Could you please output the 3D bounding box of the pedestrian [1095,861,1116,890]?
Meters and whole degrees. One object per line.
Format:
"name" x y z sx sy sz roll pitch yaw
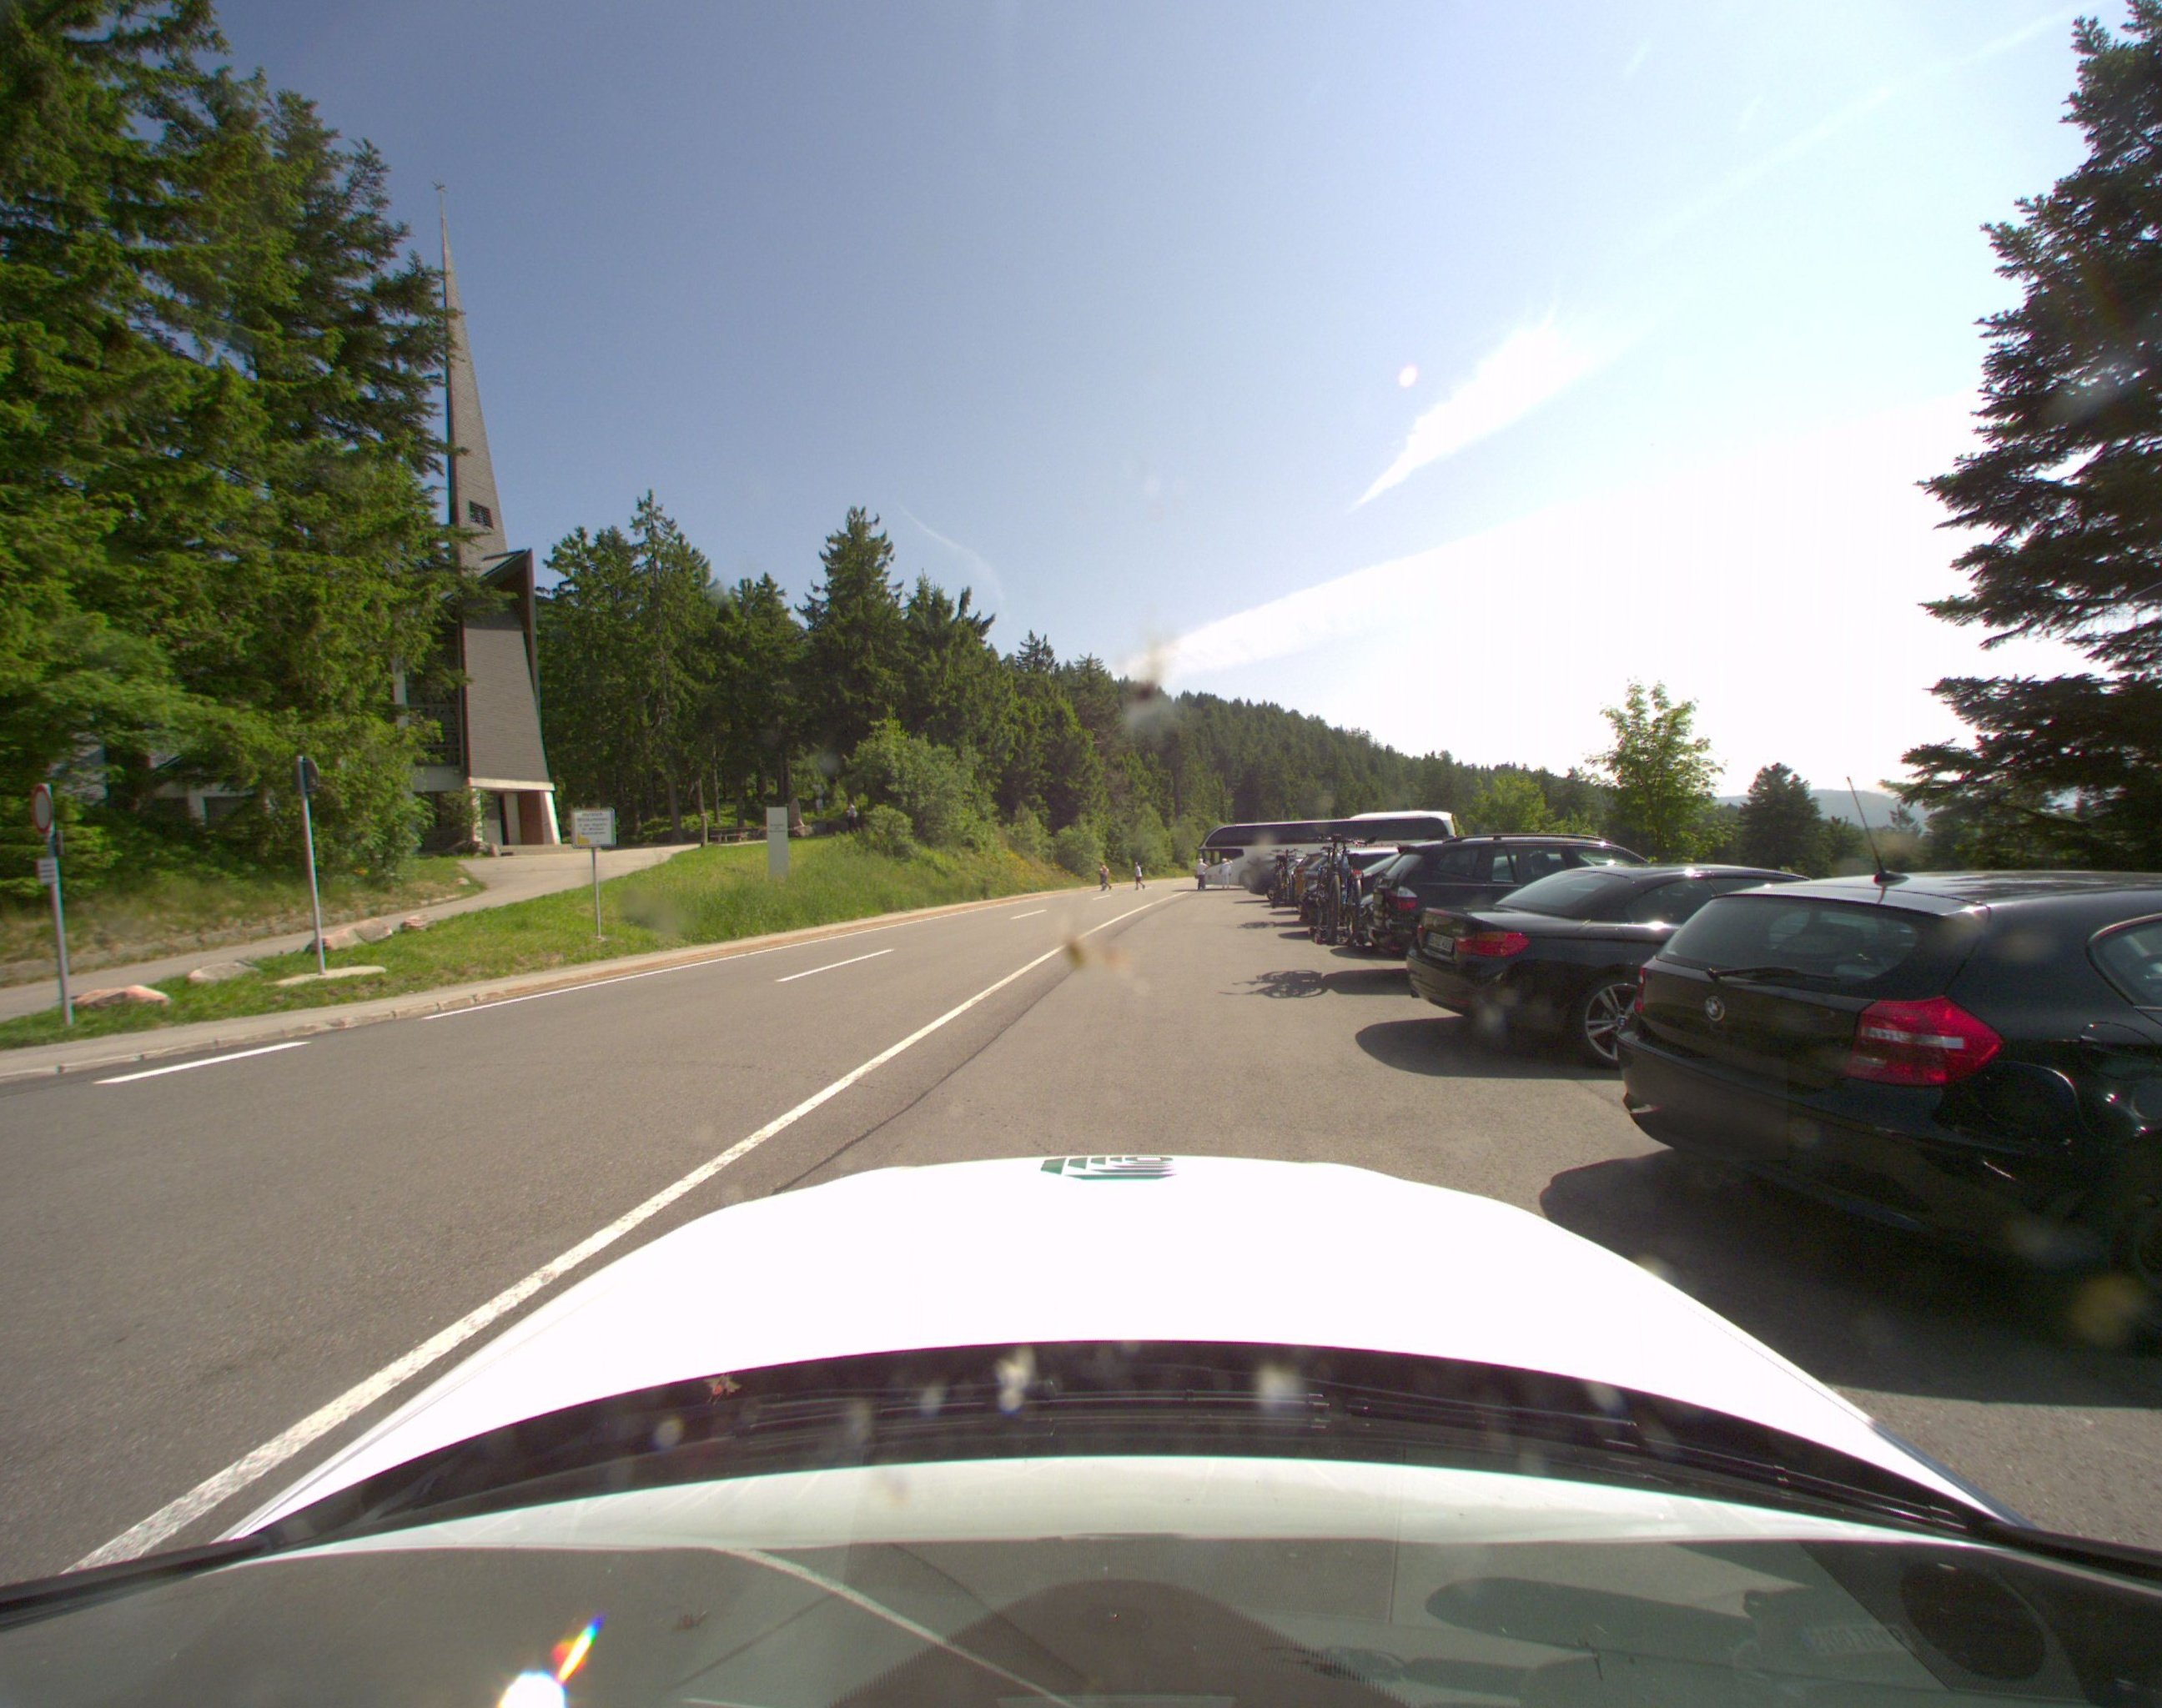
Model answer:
"pedestrian" 1.452 1.284 48.771 0.859 1.683 0.861 -2 -1 -31

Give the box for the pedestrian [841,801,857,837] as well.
"pedestrian" -12.730 -1.927 44.732 0.681 1.878 0.539 -3 -1 -13

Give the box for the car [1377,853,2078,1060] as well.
"car" 4.641 0.704 6.351 4.065 1.376 1.703 0 -1 2

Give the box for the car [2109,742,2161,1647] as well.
"car" 4.048 0.622 0.490 4.325 1.626 1.871 1 -1 3

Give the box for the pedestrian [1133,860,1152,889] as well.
"pedestrian" 3.520 1.179 46.683 0.852 1.585 0.817 -3 -1 -5

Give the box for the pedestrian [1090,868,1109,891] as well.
"pedestrian" 1.070 1.495 47.745 0.739 1.279 0.775 -2 -1 -34

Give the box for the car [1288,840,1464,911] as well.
"car" 7.503 0.549 21.035 3.963 1.554 1.664 -3 -1 9

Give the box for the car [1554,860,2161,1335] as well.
"car" 4.426 0.720 3.283 4.069 1.376 1.702 0 -1 -1

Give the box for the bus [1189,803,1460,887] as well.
"bus" 12.458 -0.365 42.605 12.986 3.532 3.058 -3 -1 19

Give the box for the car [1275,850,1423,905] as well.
"car" 7.946 0.694 24.429 3.963 1.398 1.624 -3 -1 9

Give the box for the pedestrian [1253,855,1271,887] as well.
"pedestrian" 9.301 0.885 41.789 0.764 1.585 0.776 -3 -1 17

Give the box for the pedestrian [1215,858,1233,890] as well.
"pedestrian" 7.350 1.007 41.868 0.764 1.585 0.775 -3 -1 16

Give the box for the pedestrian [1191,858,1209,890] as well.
"pedestrian" 6.193 1.036 42.278 0.764 1.585 0.775 -3 -1 16

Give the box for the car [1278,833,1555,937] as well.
"car" 5.812 0.541 14.621 4.219 1.554 1.843 -3 -1 9

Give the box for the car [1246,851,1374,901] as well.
"car" 7.718 0.746 27.789 3.963 1.449 1.866 -3 -1 9

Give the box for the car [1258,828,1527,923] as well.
"car" 6.417 0.453 17.380 5.004 1.651 2.053 -3 -1 9

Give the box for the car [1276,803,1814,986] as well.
"car" 4.820 0.463 9.285 4.917 1.695 1.951 -3 -1 11

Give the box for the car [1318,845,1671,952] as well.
"car" 5.813 0.628 11.968 4.219 1.269 1.843 -3 -1 9
